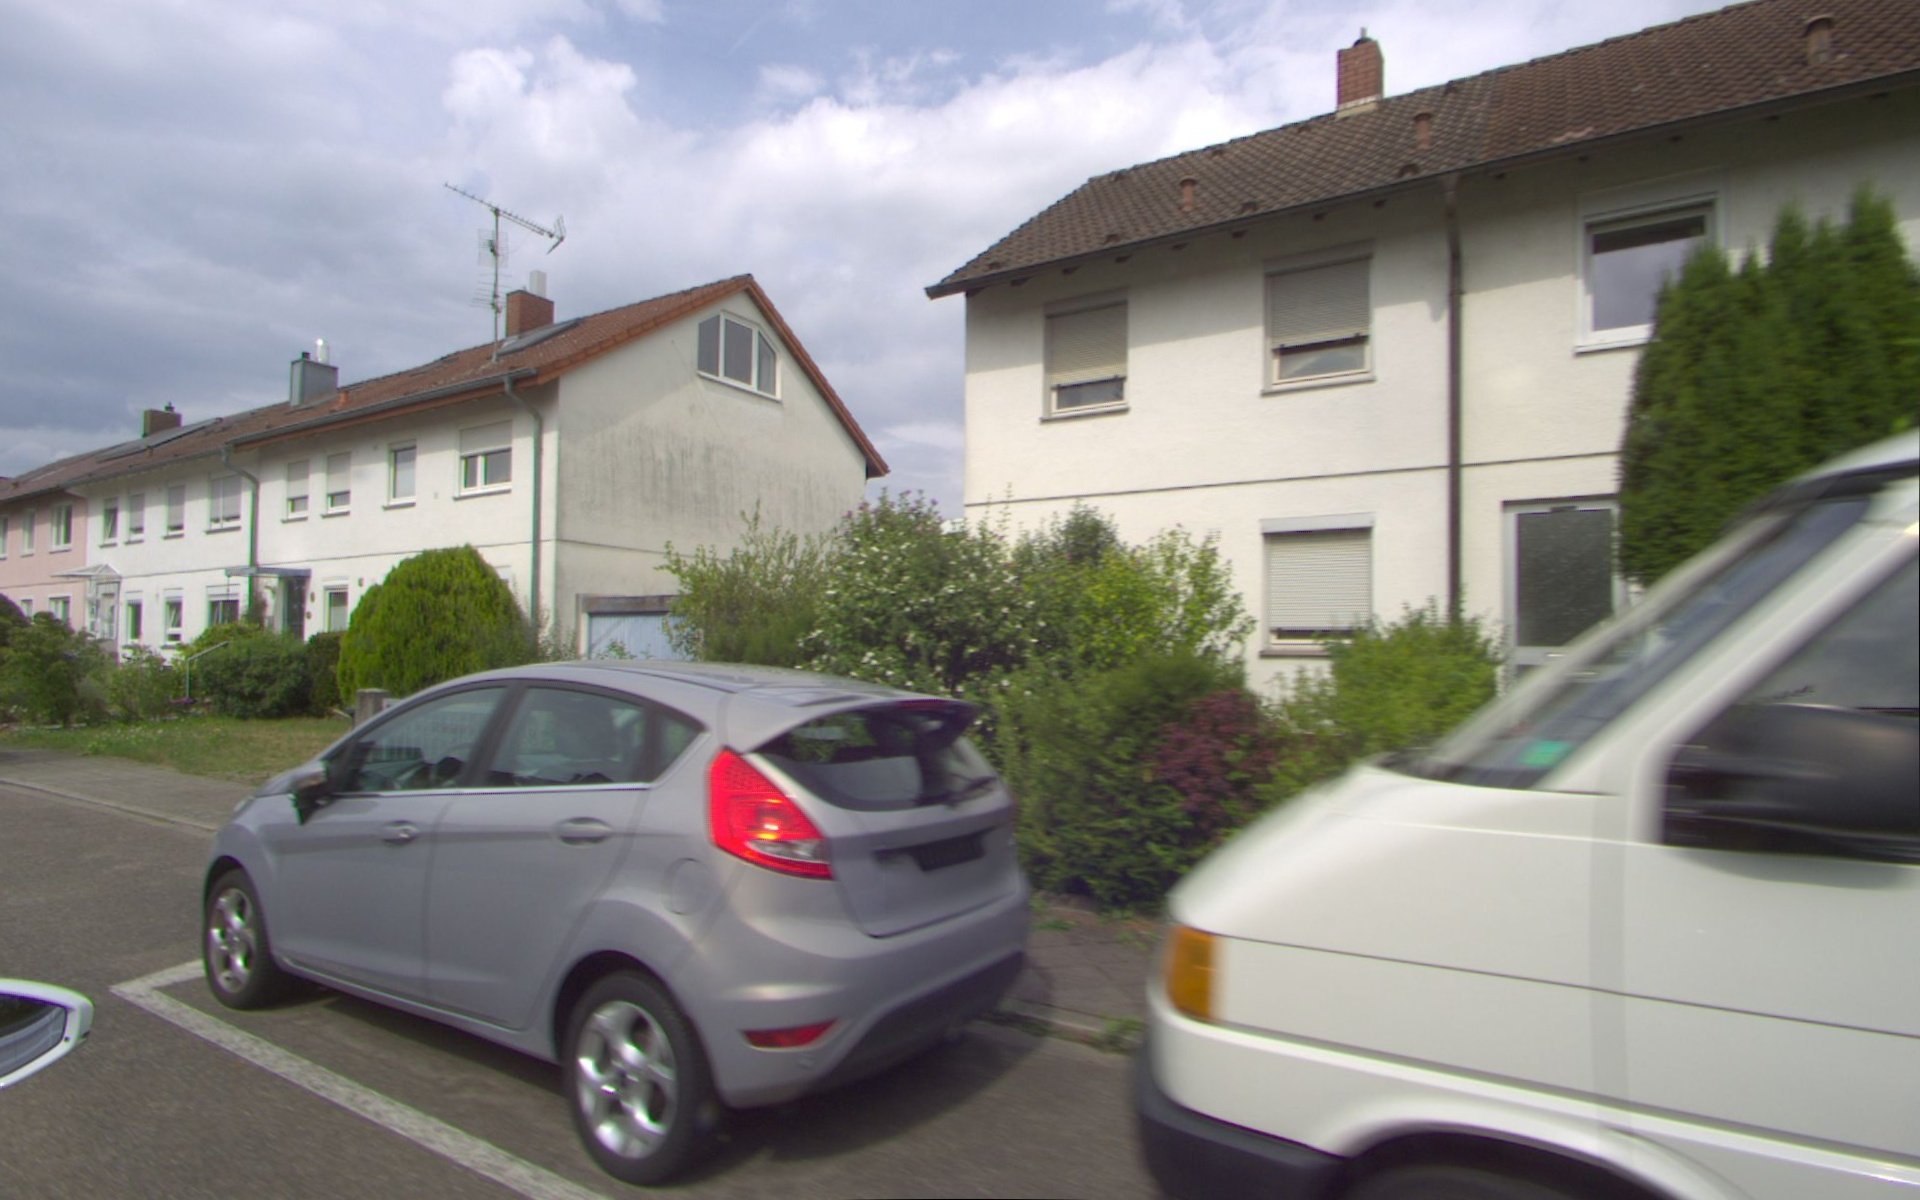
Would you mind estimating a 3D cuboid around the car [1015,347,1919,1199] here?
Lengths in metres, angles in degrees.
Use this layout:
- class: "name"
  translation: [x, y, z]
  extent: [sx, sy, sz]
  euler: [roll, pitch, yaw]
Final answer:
- class: "car"
  translation: [2.624, 0.678, 1.668]
  extent: [4.677, 1.972, 2.019]
  euler: [-1, -2, 31]

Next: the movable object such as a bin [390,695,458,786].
- class: "movable object such as a bin"
  translation: [-5.785, 1.498, 10.812]
  extent: [0.458, 0.932, 0.431]
  euler: [0, -4, 28]

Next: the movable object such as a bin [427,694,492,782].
- class: "movable object such as a bin"
  translation: [-5.609, 1.537, 11.237]
  extent: [0.458, 0.932, 0.431]
  euler: [0, -4, 28]

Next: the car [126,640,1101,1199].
- class: "car"
  translation: [-1.645, 0.931, 4.330]
  extent: [4.071, 1.478, 1.897]
  euler: [-1, -3, 33]

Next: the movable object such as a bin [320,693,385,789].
- class: "movable object such as a bin"
  translation: [-6.257, 1.440, 10.321]
  extent: [0.414, 0.933, 0.407]
  euler: [0, -2, 28]
